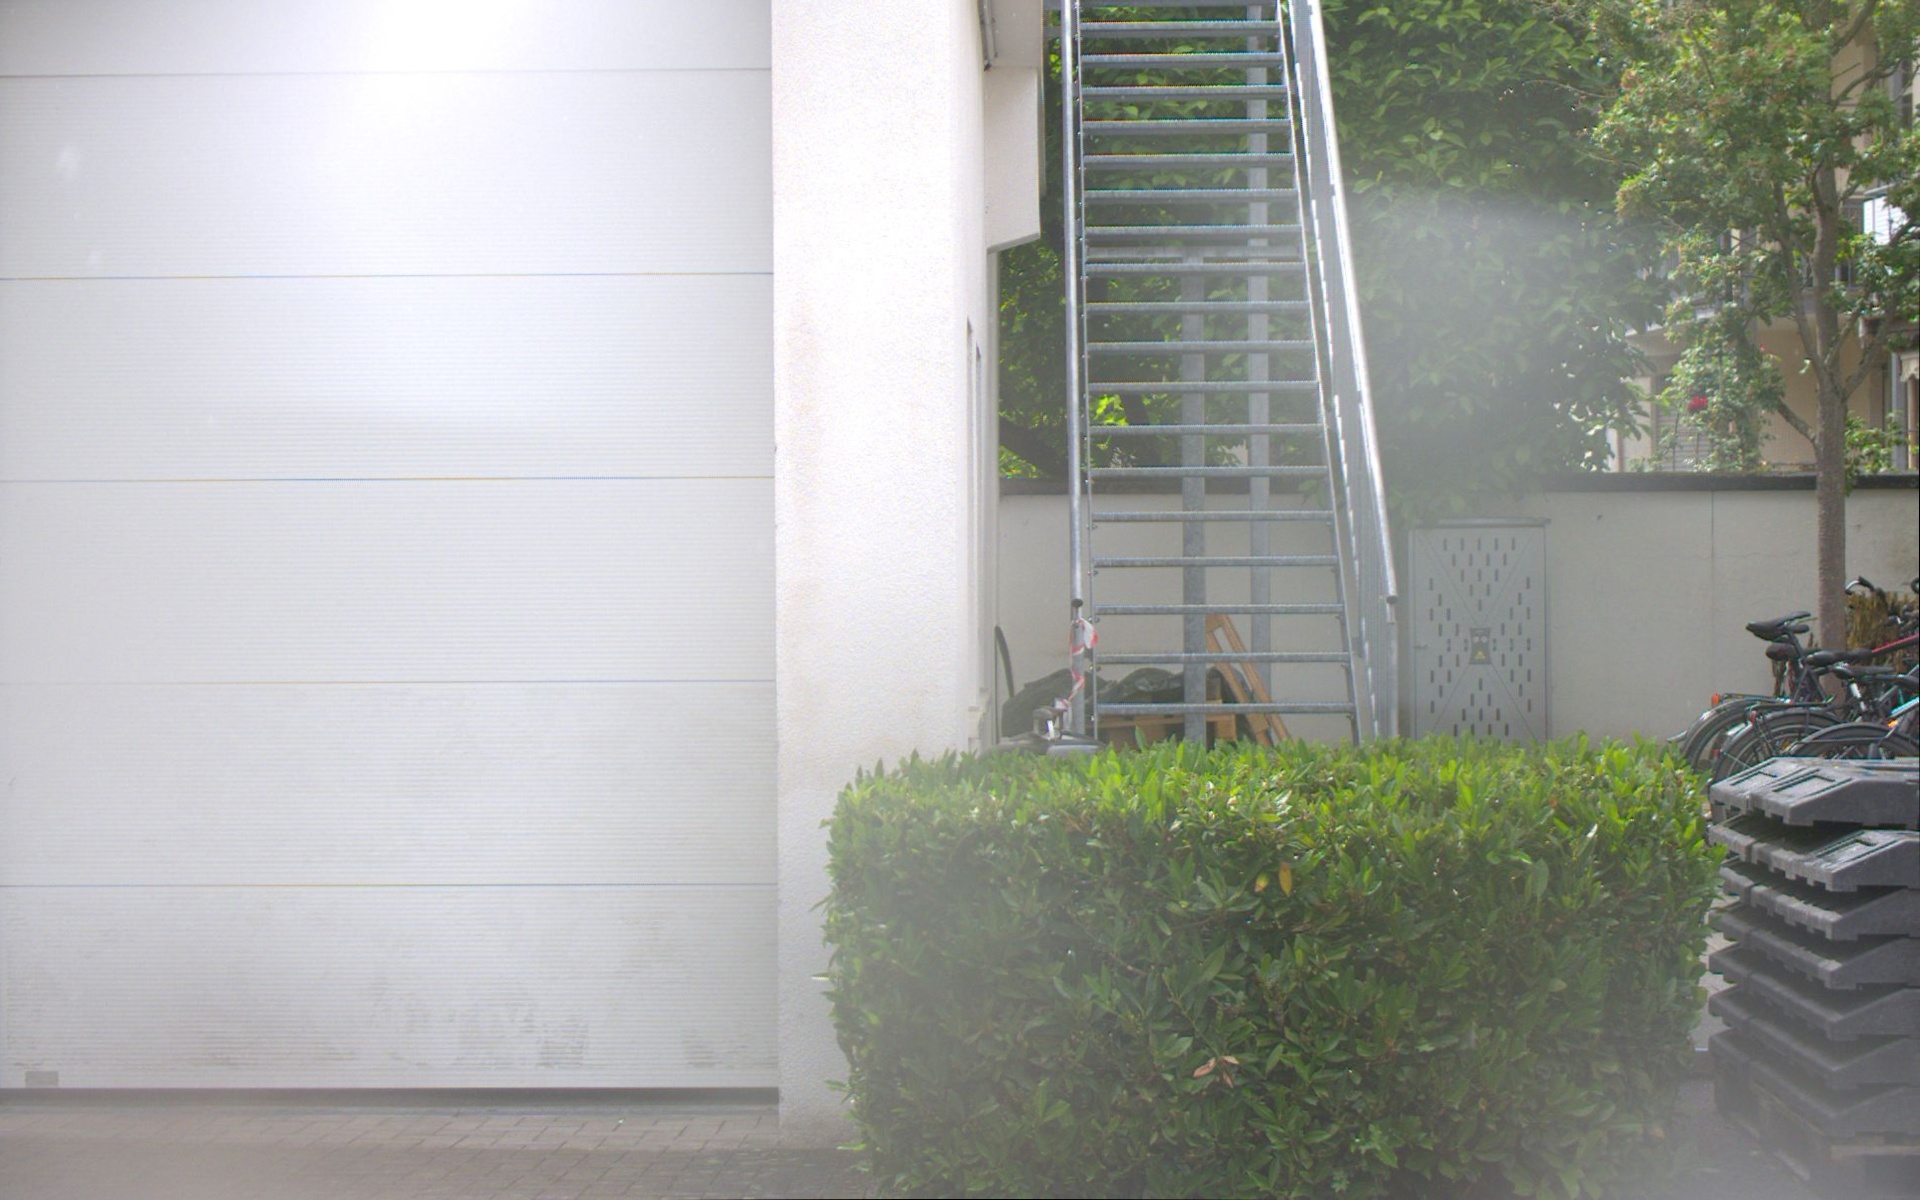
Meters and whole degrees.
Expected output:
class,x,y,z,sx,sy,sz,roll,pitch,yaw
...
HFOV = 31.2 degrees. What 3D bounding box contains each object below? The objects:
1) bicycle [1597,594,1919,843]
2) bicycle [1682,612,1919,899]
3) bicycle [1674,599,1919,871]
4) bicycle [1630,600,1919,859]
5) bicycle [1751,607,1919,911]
class,x,y,z,sx,sy,sz,roll,pitch,yaw
bicycle,4.420,0.542,15.779,2.843,1.074,0.689,1,2,-2
bicycle,4.369,0.616,13.631,2.843,1.074,0.689,1,2,-2
bicycle,4.485,0.563,14.357,2.843,1.074,0.689,1,2,-2
bicycle,4.440,0.567,15.071,2.843,1.074,0.689,1,2,-2
bicycle,4.511,0.598,12.854,2.923,1.074,0.689,1,2,-2
